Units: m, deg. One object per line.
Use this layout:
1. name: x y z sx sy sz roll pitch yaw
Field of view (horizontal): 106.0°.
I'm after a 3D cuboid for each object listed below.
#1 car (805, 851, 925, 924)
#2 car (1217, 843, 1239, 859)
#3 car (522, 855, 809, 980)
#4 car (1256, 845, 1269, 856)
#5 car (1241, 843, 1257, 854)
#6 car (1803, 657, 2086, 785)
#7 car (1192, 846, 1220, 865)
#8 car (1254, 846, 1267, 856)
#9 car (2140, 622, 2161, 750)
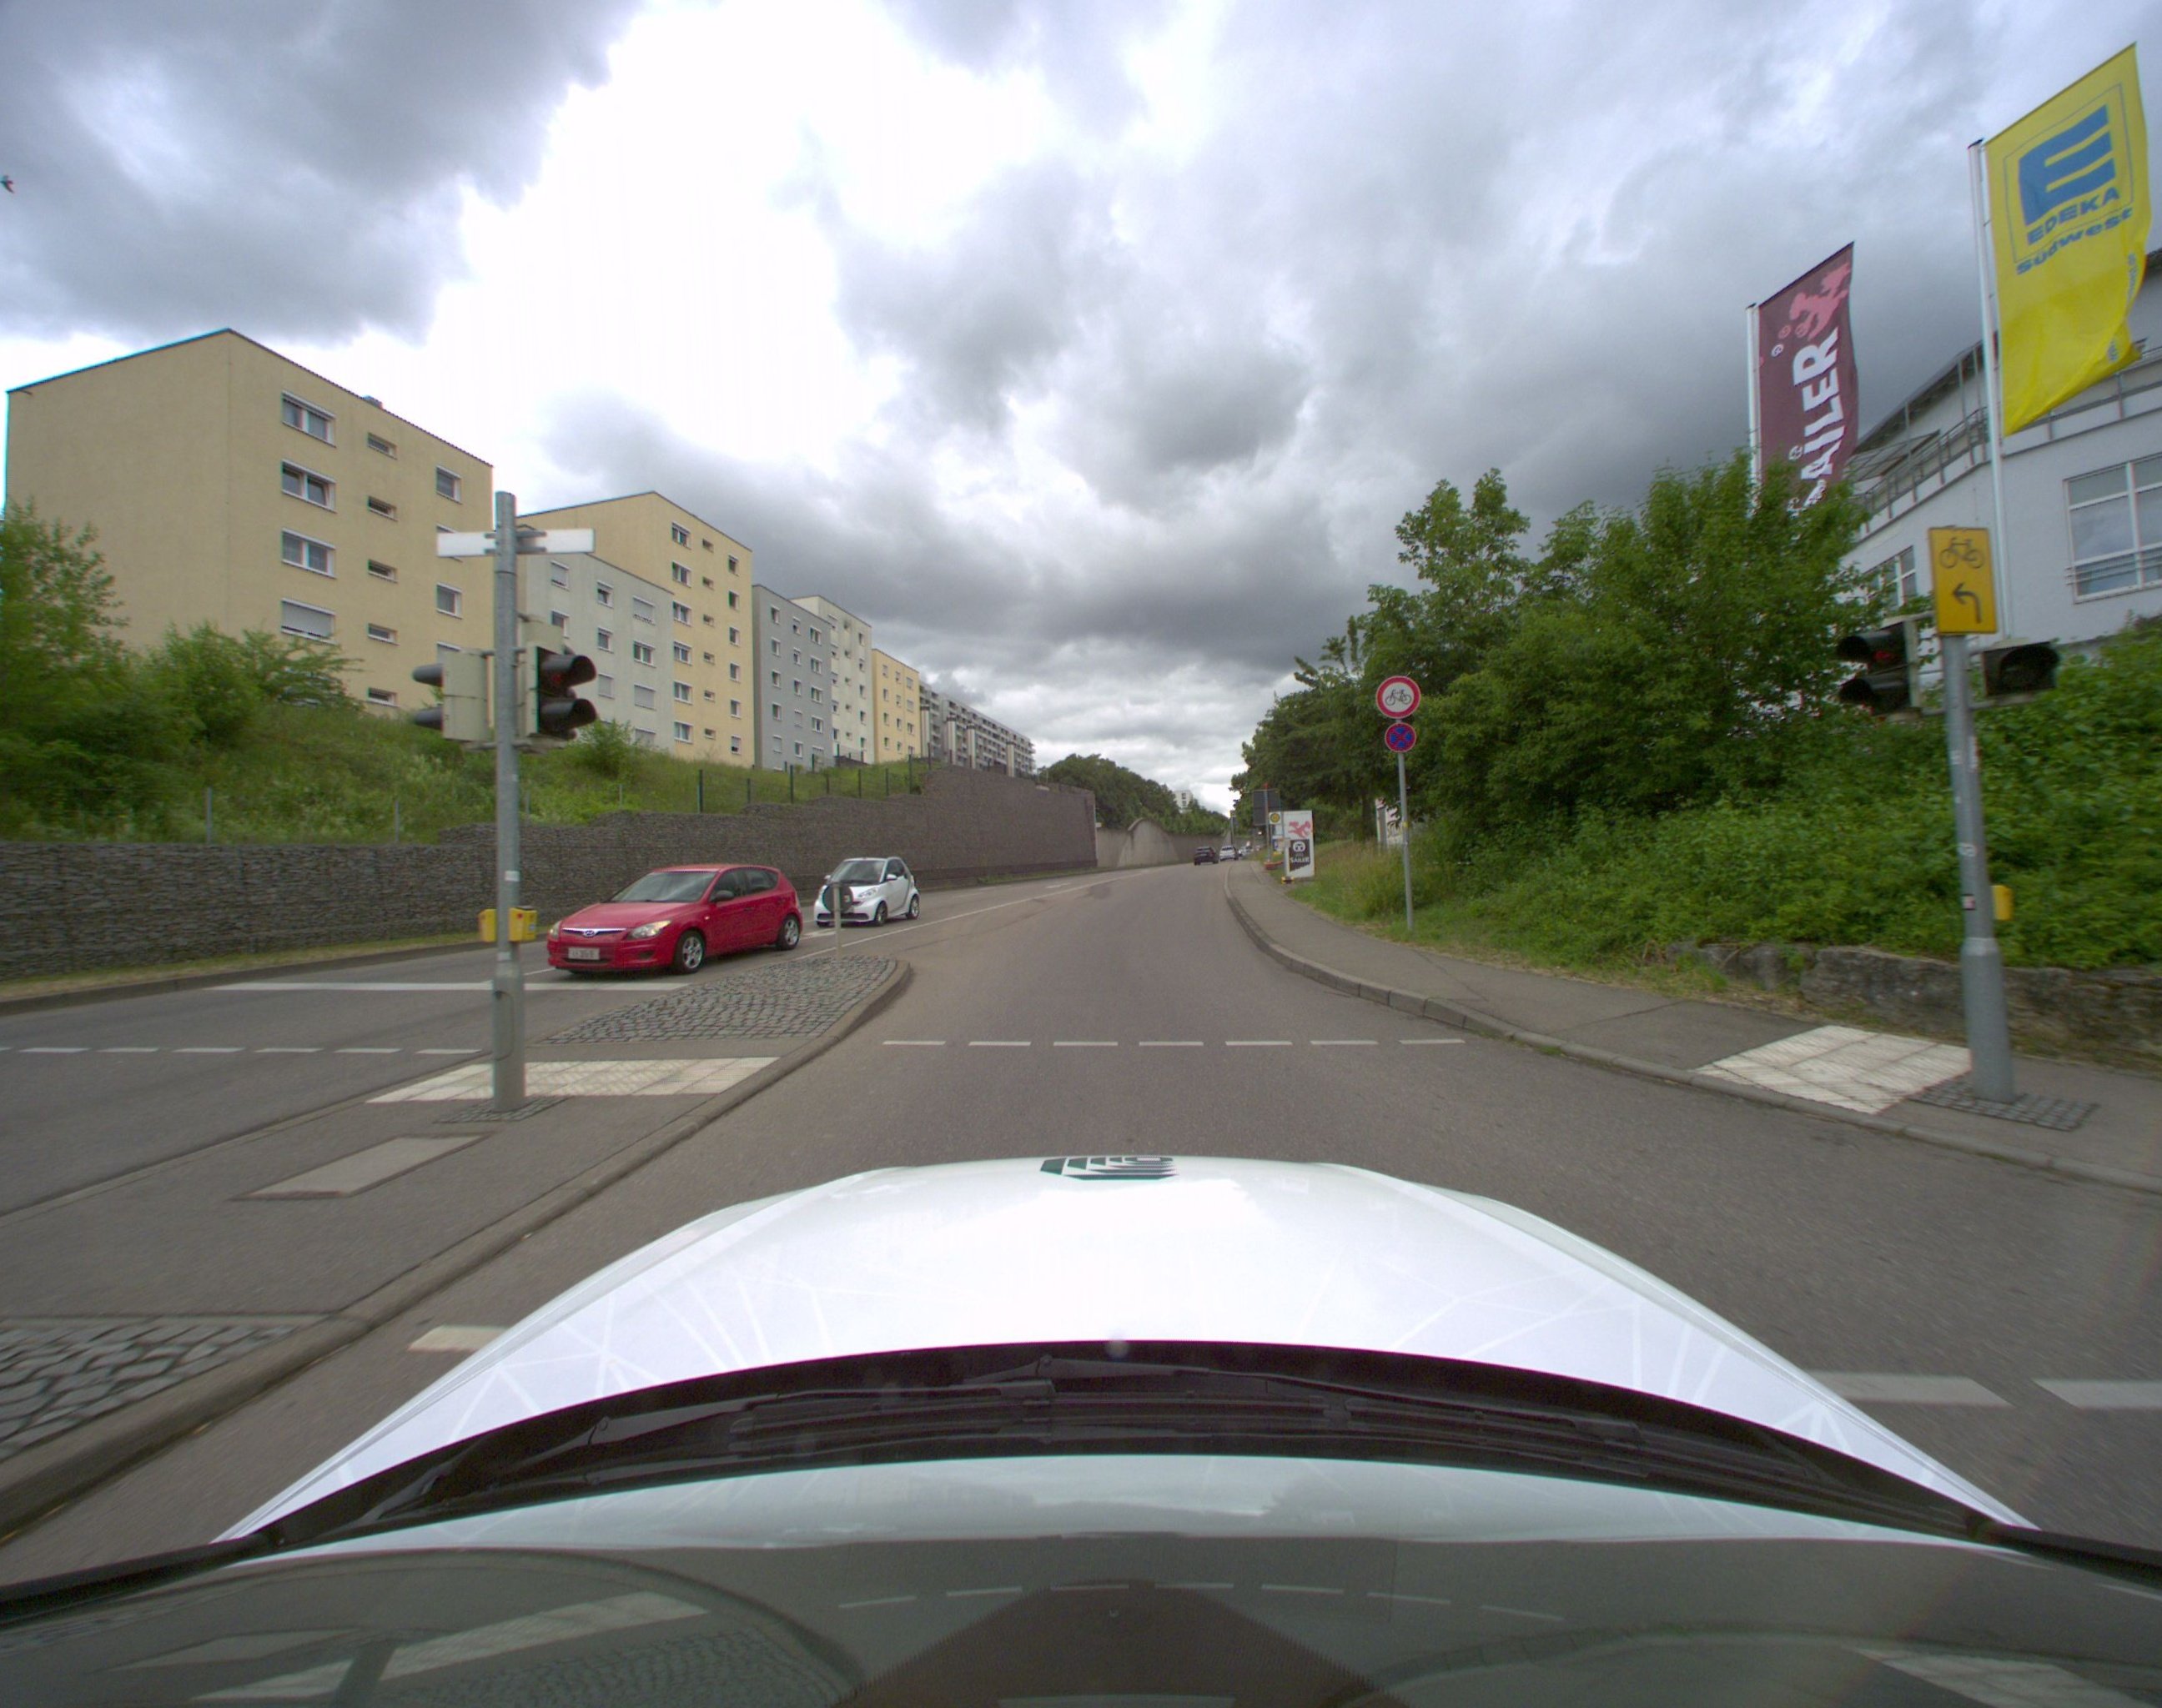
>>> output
1. car: -4.879 0.711 18.767 1.534 1.523 2.923 -1 0 10
2. car: 15.163 -0.310 83.700 1.741 1.523 4.053 -1 -2 16
3. car: -5.882 0.804 12.199 1.744 1.523 4.102 -1 0 8
4. car: 29.373 -0.570 131.839 1.741 1.534 4.272 -1 -2 16
5. car: 22.607 -0.713 109.508 1.852 1.490 4.275 -1 -1 16
6. car: 14.993 -2.185 14.149 4.515 1.639 1.818 0 -2 -22
7. car: 10.415 0.156 67.558 1.741 1.523 4.053 -1 -2 16
8. car: 33.993 -0.574 154.183 1.875 1.632 4.446 -4 -1 17
9. car: 16.795 -2.298 11.269 4.522 1.639 1.815 0 -2 -28
